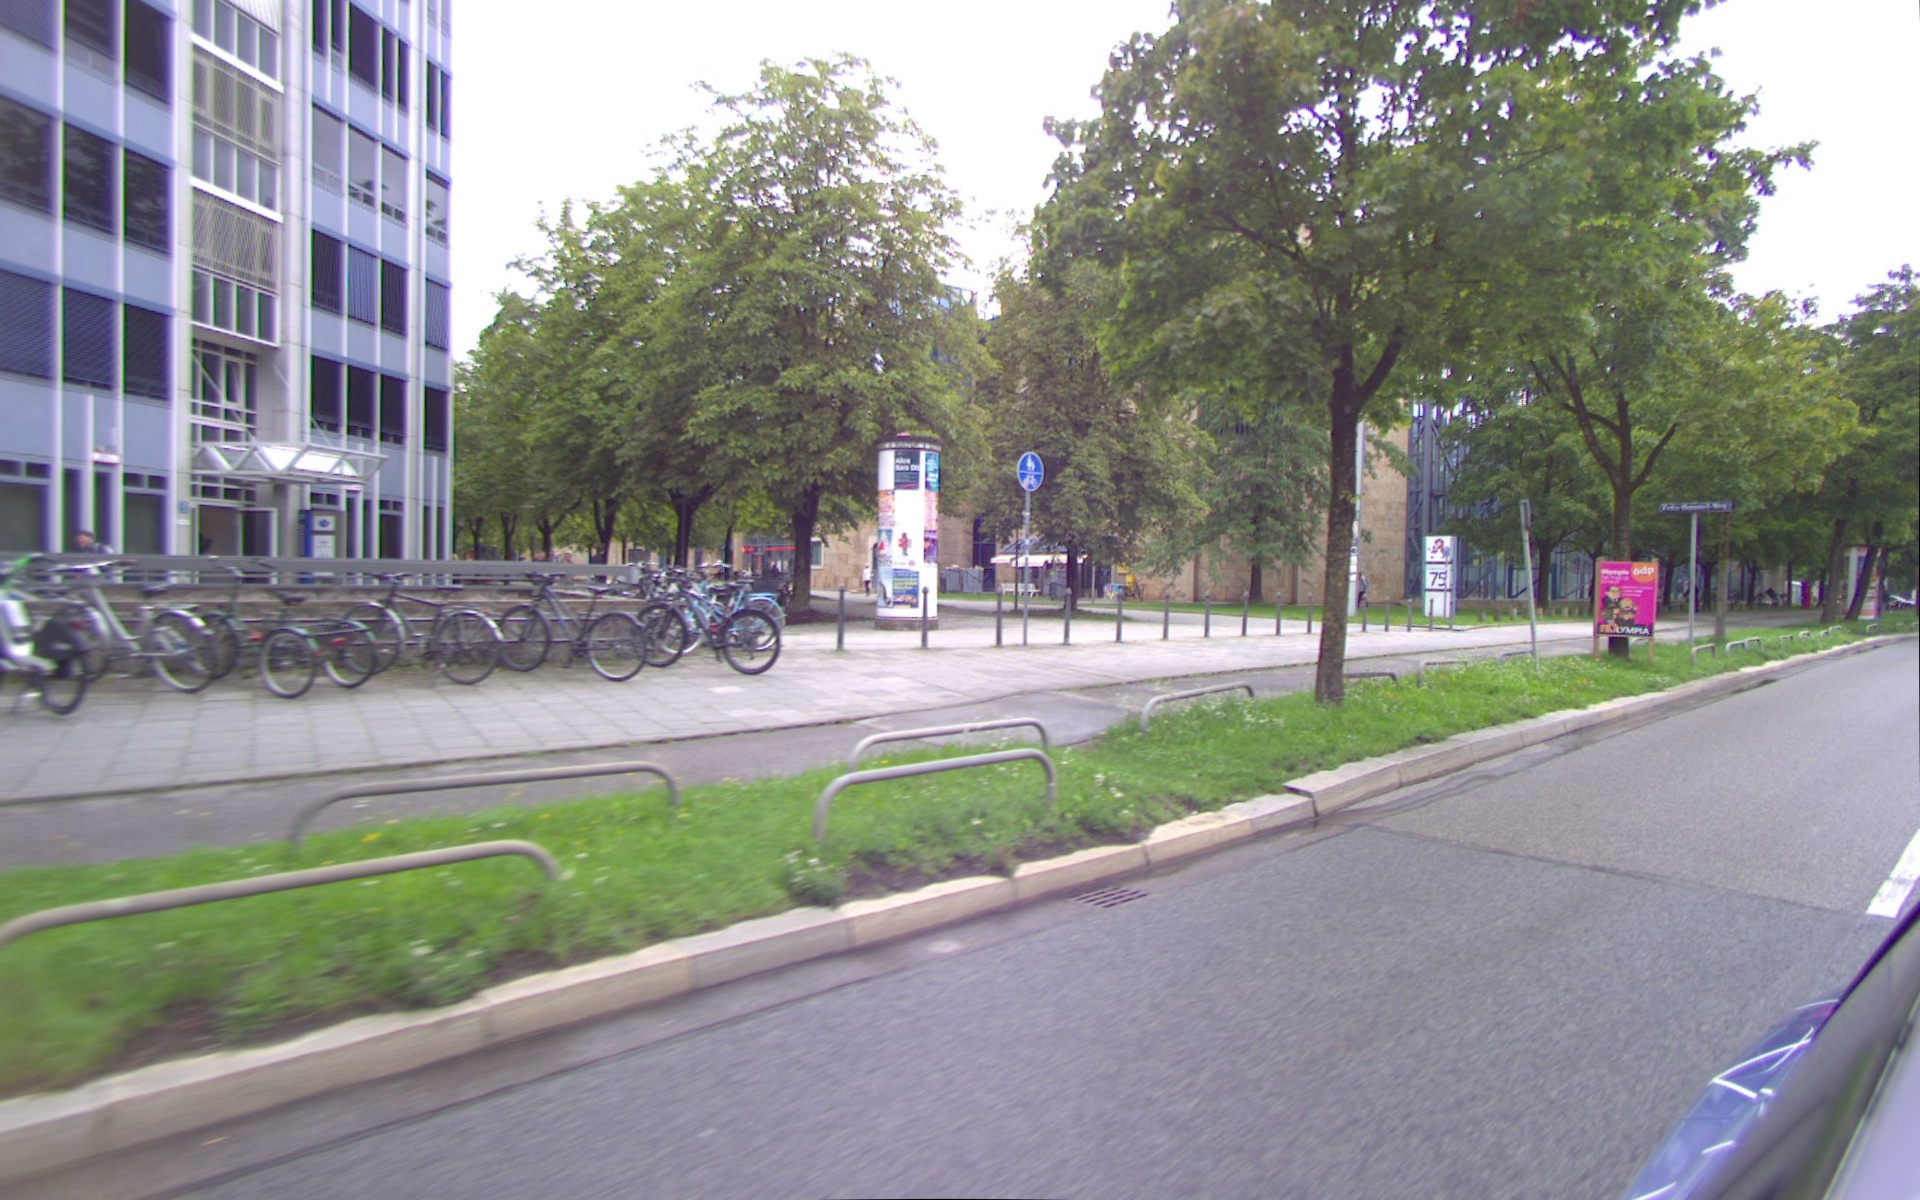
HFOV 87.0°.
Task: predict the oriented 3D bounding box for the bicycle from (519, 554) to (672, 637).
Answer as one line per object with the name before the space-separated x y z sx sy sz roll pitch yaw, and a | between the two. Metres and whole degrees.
bicycle | -6.093 -0.087 17.064 0.508 1.310 2.439 2 2 43

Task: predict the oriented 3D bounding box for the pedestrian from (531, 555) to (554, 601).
pedestrian | -15.126 -0.798 36.696 0.614 1.679 0.592 1 1 -39

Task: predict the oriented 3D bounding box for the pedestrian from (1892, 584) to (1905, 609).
pedestrian | 66.097 -0.230 71.267 0.649 1.743 0.528 -1 4 -40

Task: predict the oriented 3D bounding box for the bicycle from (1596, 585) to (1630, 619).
bicycle | 25.160 0.072 39.008 1.888 1.266 0.621 0 2 -43

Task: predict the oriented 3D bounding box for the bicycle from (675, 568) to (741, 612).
bicycle | -7.628 -0.303 30.720 0.508 1.276 1.990 2 2 43

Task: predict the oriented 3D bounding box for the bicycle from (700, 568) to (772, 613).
bicycle | -6.571 -0.290 29.757 0.508 1.276 2.141 2 2 43

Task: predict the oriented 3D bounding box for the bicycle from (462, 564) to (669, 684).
bicycle | -4.138 0.223 10.641 2.008 1.102 0.603 3 4 10

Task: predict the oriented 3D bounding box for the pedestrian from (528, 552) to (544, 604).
pedestrian | -12.560 -0.654 29.999 0.386 1.510 0.385 1 1 -28

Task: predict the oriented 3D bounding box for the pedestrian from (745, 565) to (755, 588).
pedestrian | -14.388 -1.603 69.281 0.584 1.588 0.421 1 1 -26

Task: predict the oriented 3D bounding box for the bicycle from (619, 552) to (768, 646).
bicycle | -3.605 -0.019 13.788 1.919 1.203 0.489 0 2 -39

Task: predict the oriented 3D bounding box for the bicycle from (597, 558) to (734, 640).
bicycle | -4.552 -0.023 15.793 0.445 1.203 2.108 2 2 43

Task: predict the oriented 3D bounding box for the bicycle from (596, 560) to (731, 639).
bicycle | -4.755 -0.021 16.355 0.511 1.203 2.108 2 2 43

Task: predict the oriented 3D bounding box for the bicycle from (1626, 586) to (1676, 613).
bicycle | 32.282 -0.029 47.314 1.736 1.143 0.726 2 1 7

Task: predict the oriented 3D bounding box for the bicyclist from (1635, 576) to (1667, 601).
bicyclist | 32.301 -0.537 47.301 0.943 1.143 0.726 2 1 7

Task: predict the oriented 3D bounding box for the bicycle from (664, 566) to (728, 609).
bicycle | -8.123 -0.375 31.243 0.508 1.276 1.924 2 2 43

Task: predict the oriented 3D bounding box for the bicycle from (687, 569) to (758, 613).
bicycle | -7.109 -0.269 30.379 0.508 1.276 2.141 2 2 43

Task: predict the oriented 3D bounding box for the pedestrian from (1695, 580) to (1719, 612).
pedestrian | 40.661 -0.225 55.107 0.631 1.665 0.741 1 3 -17

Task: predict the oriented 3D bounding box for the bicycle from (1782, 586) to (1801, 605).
bicycle | 56.300 -0.304 68.530 2.102 1.207 0.513 -1 2 -38

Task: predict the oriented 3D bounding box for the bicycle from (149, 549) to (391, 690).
bicycle | -6.276 0.156 9.228 1.923 1.096 0.595 4 2 10

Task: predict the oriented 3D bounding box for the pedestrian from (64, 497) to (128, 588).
pedestrian | -16.604 -1.098 19.456 0.688 1.699 0.651 2 1 11

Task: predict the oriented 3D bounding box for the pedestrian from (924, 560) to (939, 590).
pedestrian | -1.619 -1.430 57.760 0.582 1.699 0.563 1 1 -37

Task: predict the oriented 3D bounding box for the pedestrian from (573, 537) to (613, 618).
pedestrian | -8.273 -0.508 22.806 0.754 1.794 0.690 1 1 -25

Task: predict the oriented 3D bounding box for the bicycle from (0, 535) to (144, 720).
bicycle | -7.094 0.147 7.597 1.931 1.203 0.593 5 2 21

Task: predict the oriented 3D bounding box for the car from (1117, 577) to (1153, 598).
car | 8.851 -0.639 51.080 2.042 1.026 0.677 -2 3 -41

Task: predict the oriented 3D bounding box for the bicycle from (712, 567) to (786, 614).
bicycle | -5.965 -0.258 28.646 2.022 1.276 0.607 0 2 -44

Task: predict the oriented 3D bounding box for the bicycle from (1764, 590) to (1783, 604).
bicycle | 55.626 -0.184 69.191 2.102 0.952 0.513 0 2 -38

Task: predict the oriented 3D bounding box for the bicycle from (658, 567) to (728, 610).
bicycle | -8.379 -0.362 31.835 0.552 1.276 2.141 2 2 43

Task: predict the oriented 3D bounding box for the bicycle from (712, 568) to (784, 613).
bicycle | -6.129 -0.272 29.382 0.508 1.276 2.141 2 2 43

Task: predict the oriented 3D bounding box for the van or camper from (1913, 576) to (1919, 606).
van or camper | 118.906 -0.875 118.067 10.850 3.597 3.276 3 2 40

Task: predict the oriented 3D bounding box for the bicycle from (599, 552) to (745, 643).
bicycle | -4.021 -0.036 14.233 1.919 1.203 0.489 0 2 -39

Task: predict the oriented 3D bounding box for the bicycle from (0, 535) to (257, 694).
bicycle | -7.062 0.102 8.573 1.923 1.122 0.579 5 2 10

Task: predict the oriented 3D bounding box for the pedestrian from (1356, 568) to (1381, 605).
pedestrian | 18.697 -0.636 46.352 0.861 1.666 0.573 1 1 -3

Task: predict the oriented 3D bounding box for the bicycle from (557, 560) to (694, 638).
bicycle | -5.460 -0.032 16.614 0.577 1.203 2.108 2 2 43

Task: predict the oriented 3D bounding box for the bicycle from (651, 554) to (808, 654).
bicycle | -2.916 0.039 12.926 1.919 1.203 0.489 0 2 -39

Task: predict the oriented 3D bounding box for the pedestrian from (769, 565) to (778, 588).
pedestrian | -13.513 -1.699 73.229 0.504 1.588 0.421 1 1 -30

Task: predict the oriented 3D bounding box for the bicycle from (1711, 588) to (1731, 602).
bicycle | 52.710 -0.347 70.091 2.026 0.952 0.572 -1 2 -38

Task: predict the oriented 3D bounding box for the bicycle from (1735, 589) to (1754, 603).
bicycle | 53.965 -0.263 69.629 1.730 0.952 0.619 0 2 -38

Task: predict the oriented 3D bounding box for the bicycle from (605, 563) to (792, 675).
bicycle | -2.985 0.192 11.581 1.999 1.112 0.579 3 4 9

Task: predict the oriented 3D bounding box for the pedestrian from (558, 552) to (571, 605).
pedestrian | -11.862 -0.651 30.355 0.346 1.591 0.310 1 1 -22

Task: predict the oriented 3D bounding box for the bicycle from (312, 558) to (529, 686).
bicycle | -5.295 0.191 9.947 1.923 1.078 0.579 4 3 10

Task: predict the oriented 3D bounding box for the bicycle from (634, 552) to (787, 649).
bicycle | -3.251 -0.005 13.325 1.919 1.203 0.489 0 2 -39

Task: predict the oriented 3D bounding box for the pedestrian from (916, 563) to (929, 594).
pedestrian | -2.130 -1.227 57.008 0.581 1.699 0.504 1 1 -15

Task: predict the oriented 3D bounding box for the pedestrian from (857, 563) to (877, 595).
pedestrian | -5.025 -1.145 54.738 0.849 1.699 0.588 1 1 -37

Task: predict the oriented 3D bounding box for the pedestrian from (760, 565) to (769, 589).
pedestrian | -13.873 -1.645 71.766 0.503 1.651 0.507 1 1 -27

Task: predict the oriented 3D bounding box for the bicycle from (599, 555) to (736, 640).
bicycle | -4.329 -0.041 15.087 1.919 1.203 0.446 0 2 -39

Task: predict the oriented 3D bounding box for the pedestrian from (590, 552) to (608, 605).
pedestrian | -10.963 -0.645 30.699 0.401 1.591 0.348 1 1 -40
